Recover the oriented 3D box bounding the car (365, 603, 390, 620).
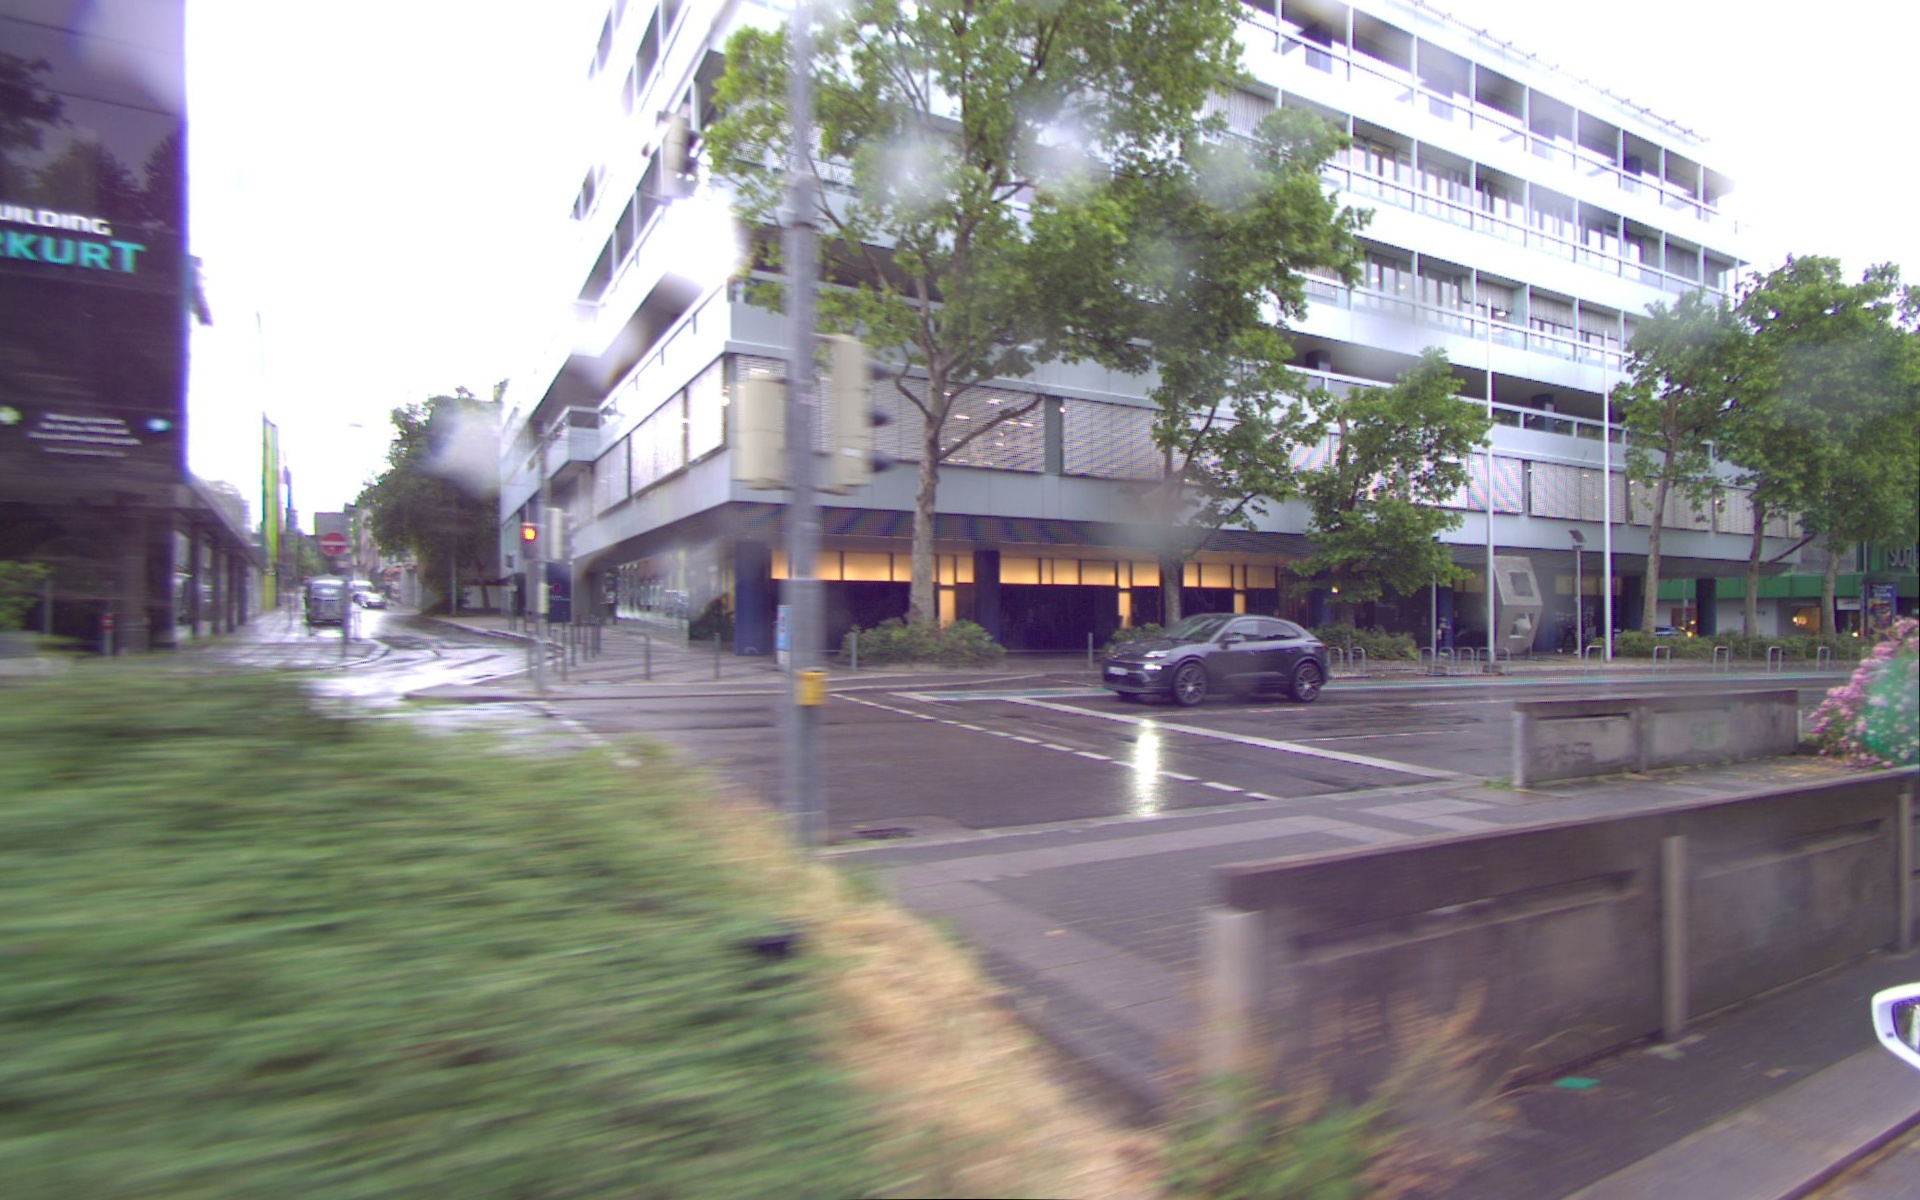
[{"bbox_3d":[-57.944,1.090,99.848,1.978,1.528,3.964,2,0,-32],"label":"car"}]

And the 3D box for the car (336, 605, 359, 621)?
[{"bbox_3d":[-63.373,1.309,103.898,1.978,1.528,3.964,2,0,-32],"label":"car"}]

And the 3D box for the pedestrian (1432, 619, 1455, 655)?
[{"bbox_3d":[19.208,1.473,39.933,0.469,1.398,0.634,2,0,-33],"label":"pedestrian"}]

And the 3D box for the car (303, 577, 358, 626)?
[{"bbox_3d":[-32.704,0.036,52.094,2.227,2.354,6.701,2,0,-33],"label":"car"}]

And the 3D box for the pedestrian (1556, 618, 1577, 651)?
[{"bbox_3d":[27.742,1.572,45.936,0.569,1.502,0.606,2,0,-33],"label":"pedestrian"}]

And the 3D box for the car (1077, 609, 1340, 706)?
[{"bbox_3d":[4.714,1.067,18.919,4.685,1.605,1.903,2,0,-27],"label":"car"}]
